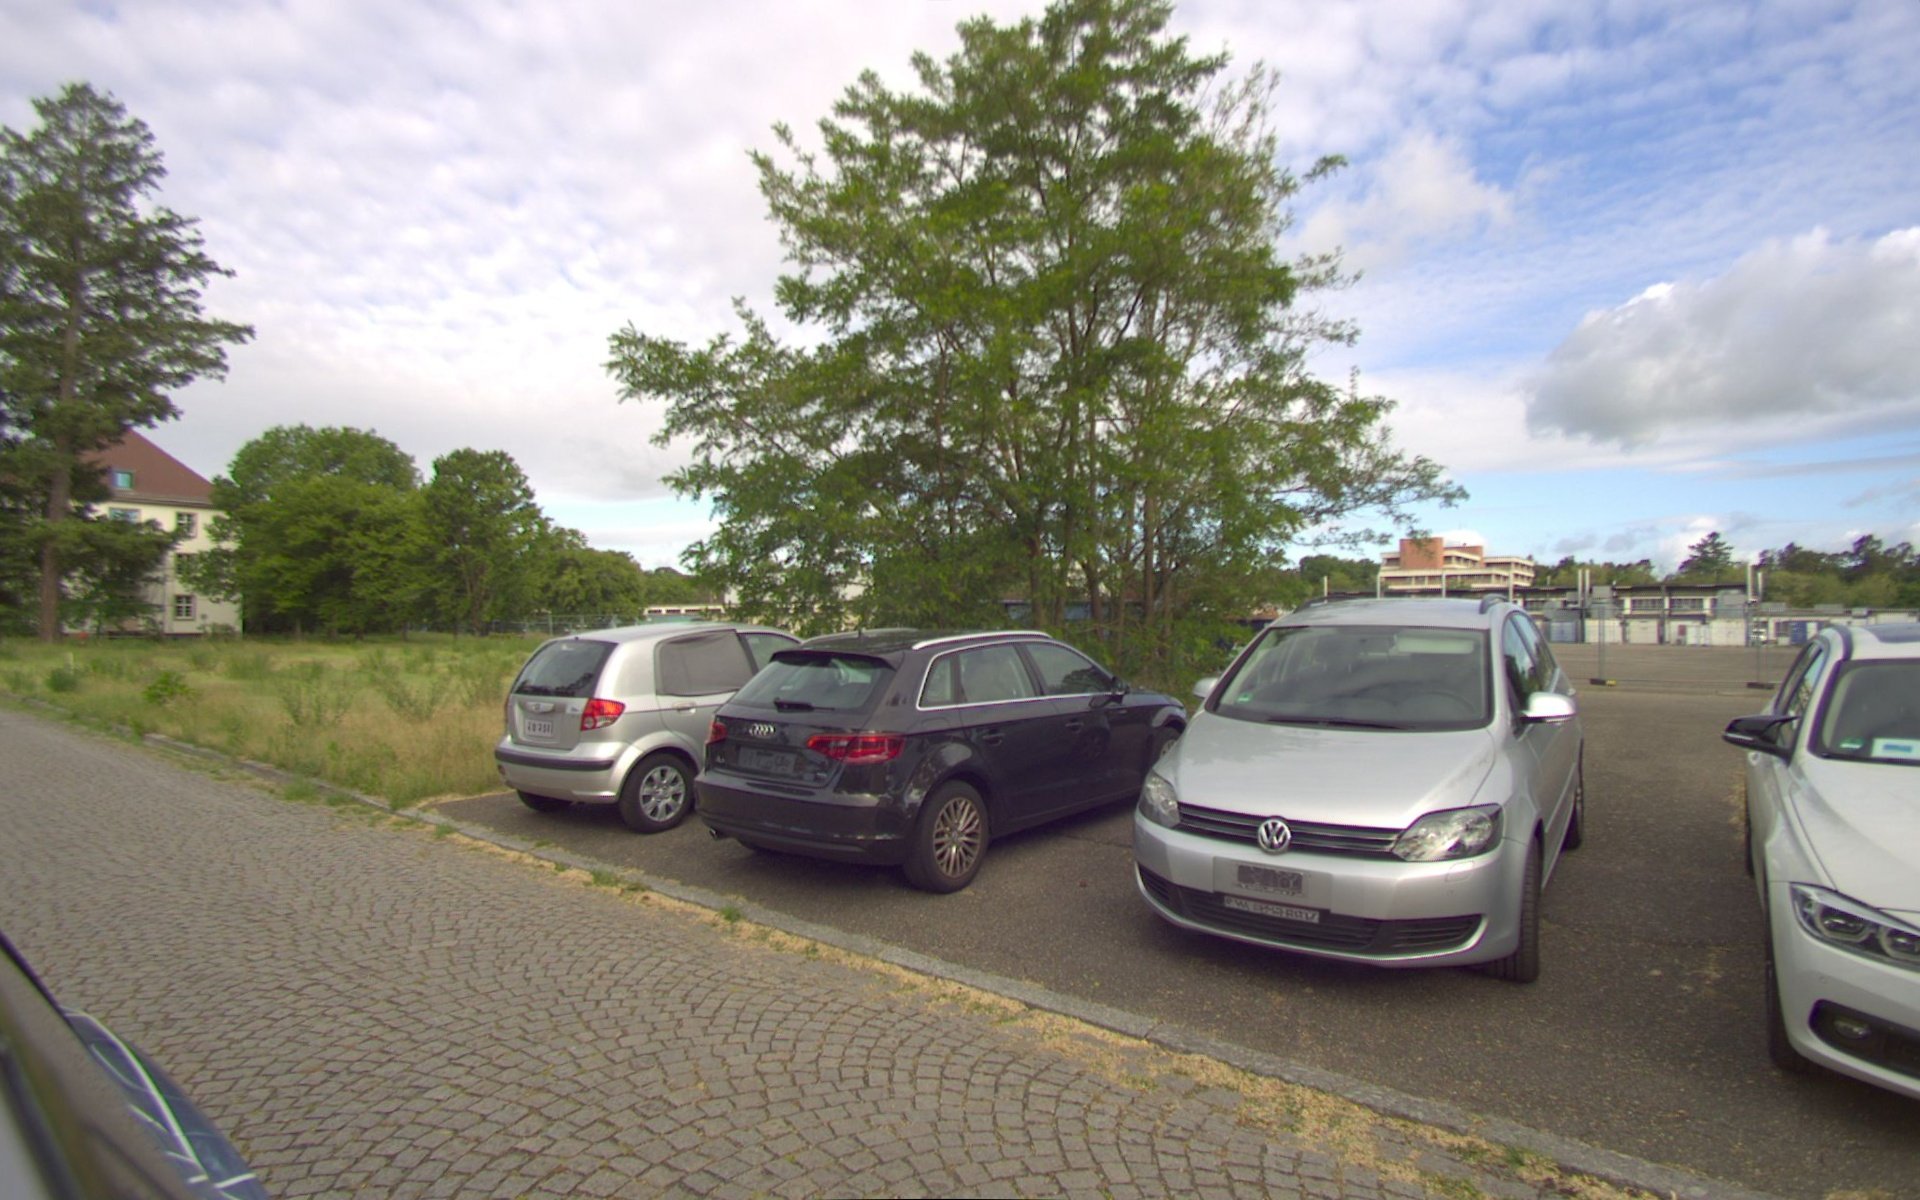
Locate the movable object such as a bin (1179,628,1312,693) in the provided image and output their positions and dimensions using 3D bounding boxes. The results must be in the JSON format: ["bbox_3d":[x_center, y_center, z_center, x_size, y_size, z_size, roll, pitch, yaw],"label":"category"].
[{"bbox_3d":[5.518,1.121,19.524,2.364,1.170,1.501,2,-2,-45],"label":"movable object such as a bin"}]

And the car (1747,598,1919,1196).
[{"bbox_3d":[4.386,0.756,4.040,1.798,1.454,4.606,-1,0,36],"label":"car"}]

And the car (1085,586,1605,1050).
[{"bbox_3d":[2.407,0.737,5.581,1.721,1.559,3.952,-1,0,36],"label":"car"}]

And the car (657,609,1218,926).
[{"bbox_3d":[0.114,0.845,7.033,1.749,1.438,3.948,-1,0,39],"label":"car"}]

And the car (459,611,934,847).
[{"bbox_3d":[-2.049,0.888,8.729,1.805,1.463,3.646,-1,0,36],"label":"car"}]
